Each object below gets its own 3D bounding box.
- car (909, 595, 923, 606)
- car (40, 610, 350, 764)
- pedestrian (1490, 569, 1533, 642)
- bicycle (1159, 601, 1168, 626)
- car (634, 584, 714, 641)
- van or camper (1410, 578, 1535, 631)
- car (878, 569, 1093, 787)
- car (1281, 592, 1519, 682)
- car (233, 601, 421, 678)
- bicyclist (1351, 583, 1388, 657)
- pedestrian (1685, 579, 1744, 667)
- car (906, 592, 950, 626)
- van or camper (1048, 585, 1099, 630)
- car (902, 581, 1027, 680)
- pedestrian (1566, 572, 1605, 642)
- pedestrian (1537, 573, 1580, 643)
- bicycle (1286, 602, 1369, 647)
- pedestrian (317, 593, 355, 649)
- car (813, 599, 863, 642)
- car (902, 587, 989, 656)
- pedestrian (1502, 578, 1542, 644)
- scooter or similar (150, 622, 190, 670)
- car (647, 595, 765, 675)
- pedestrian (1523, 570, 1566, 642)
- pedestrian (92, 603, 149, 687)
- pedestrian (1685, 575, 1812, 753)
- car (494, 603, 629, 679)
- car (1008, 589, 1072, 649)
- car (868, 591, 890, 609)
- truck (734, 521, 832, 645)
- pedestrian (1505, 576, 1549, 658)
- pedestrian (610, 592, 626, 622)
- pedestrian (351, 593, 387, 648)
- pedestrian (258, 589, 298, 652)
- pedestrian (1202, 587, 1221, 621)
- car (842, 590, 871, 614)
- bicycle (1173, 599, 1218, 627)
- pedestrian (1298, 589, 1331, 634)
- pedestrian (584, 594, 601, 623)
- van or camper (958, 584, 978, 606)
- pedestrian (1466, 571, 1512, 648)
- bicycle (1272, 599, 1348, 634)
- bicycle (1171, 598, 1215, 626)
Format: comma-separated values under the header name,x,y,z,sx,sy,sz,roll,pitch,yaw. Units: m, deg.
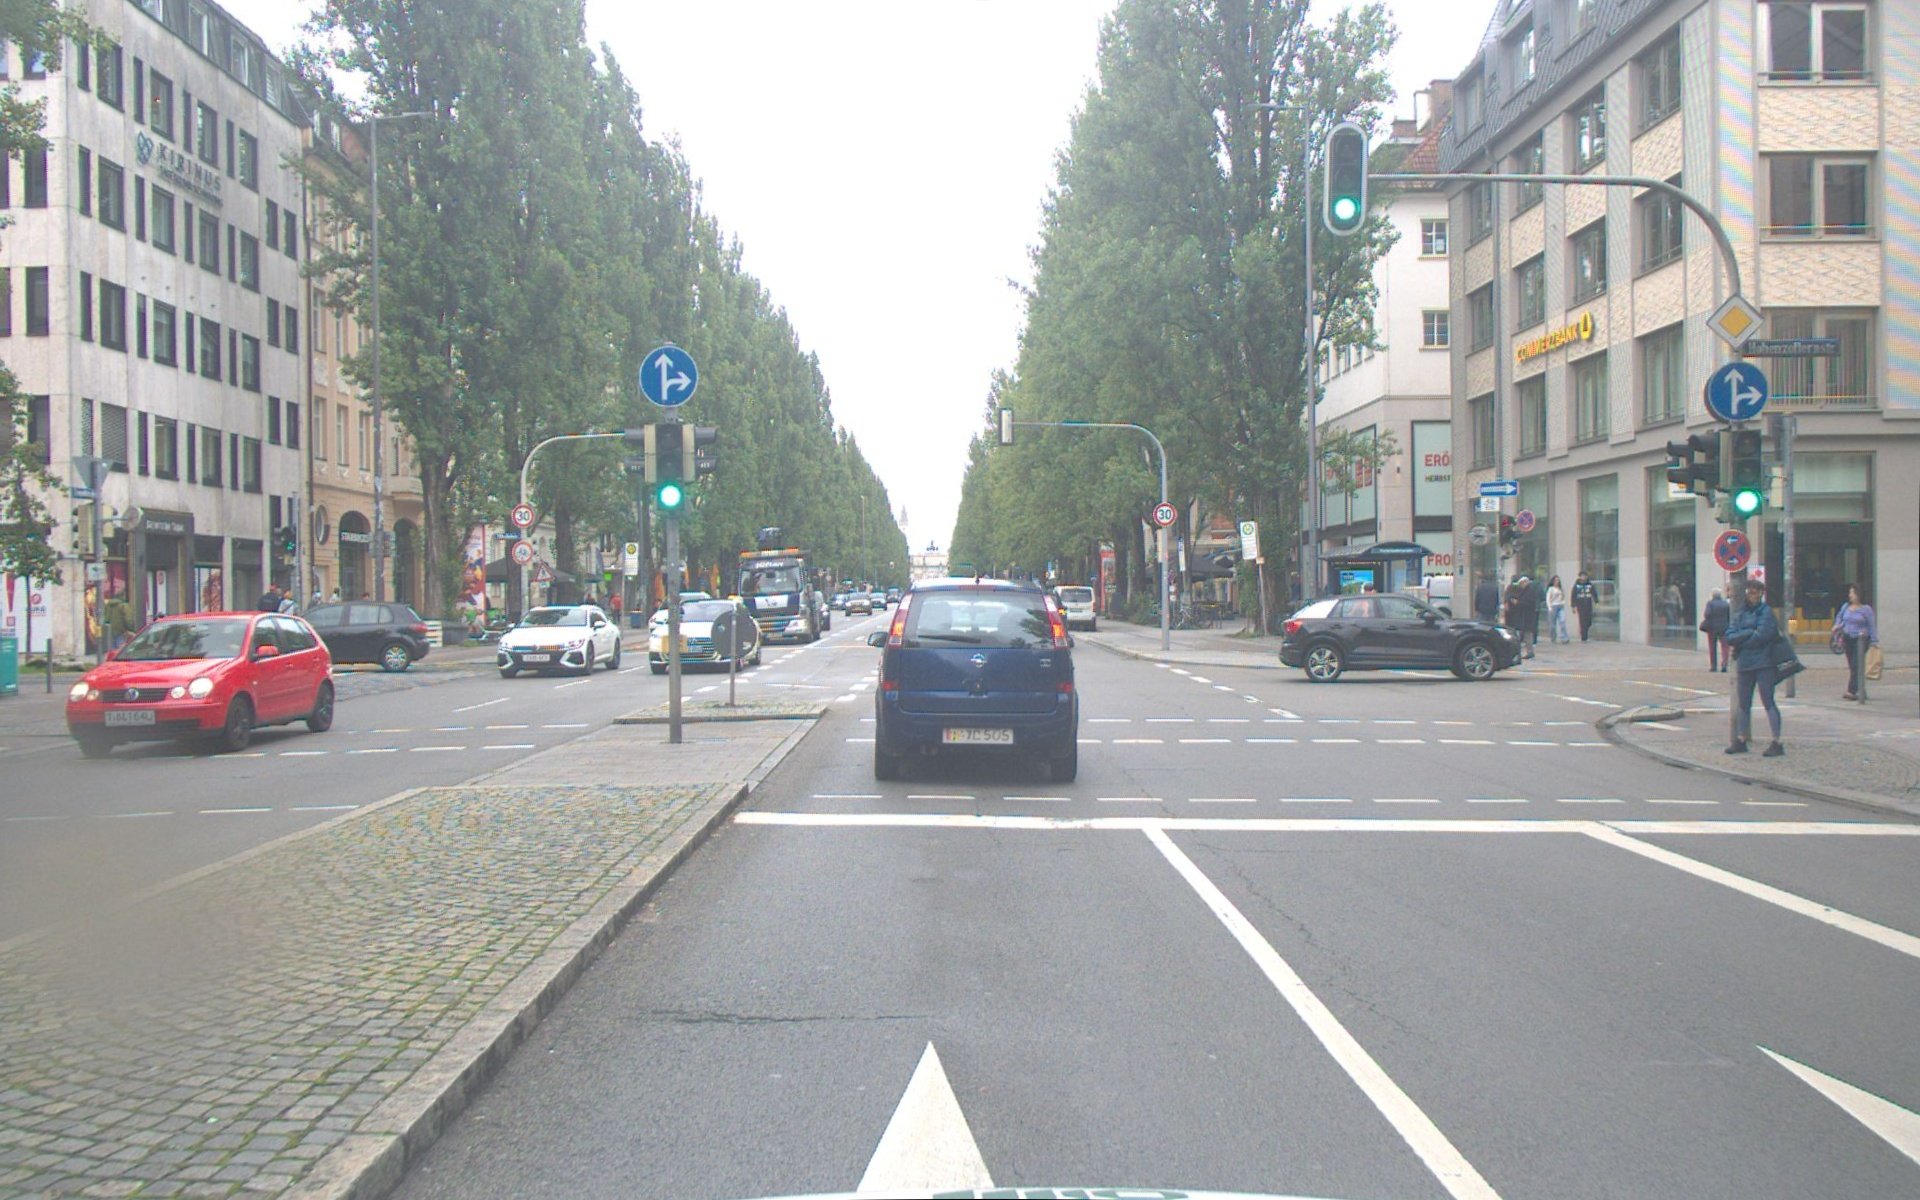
name,x,y,z,sx,sy,sz,roll,pitch,yaw
car,-6.185,0.036,232.327,1.922,1.424,3.778,-1,0,-2
car,-8.351,0.880,18.452,1.701,1.462,3.823,-1,0,-1
pedestrian,13.844,0.148,41.543,0.734,1.789,0.859,-1,-2,0
bicycle,8.797,0.584,71.582,0.357,1.056,1.732,-1,0,7
car,-9.261,0.383,53.962,1.800,1.746,4.635,-2,0,-1
van or camper,18.732,0.165,60.591,4.018,1.899,1.899,1,0,3
car,0.134,0.589,14.705,1.647,1.670,3.999,0,0,-2
car,7.638,0.633,29.011,3.901,1.487,1.761,-1,0,11
car,-13.393,0.813,35.178,3.637,1.501,1.762,-1,0,-20
bicyclist,9.093,0.440,36.756,0.609,1.616,0.753,-1,0,-2
pedestrian,14.619,0.456,32.047,0.734,1.665,0.734,-2,-2,1
car,-1.502,0.391,75.749,1.953,1.524,3.999,-1,0,-2
van or camper,4.997,0.310,73.362,1.830,1.916,4.902,0,0,-1
car,0.008,0.469,28.098,1.953,1.523,3.999,-1,0,-2
pedestrian,16.207,0.184,42.866,0.734,1.788,0.711,0,0,0
pedestrian,15.437,0.206,42.661,0.734,1.788,1.017,-1,0,0
bicycle,10.762,0.702,48.471,2.296,1.274,0.633,-1,0,-2
pedestrian,-18.159,0.603,48.130,0.735,1.594,0.989,-1,0,-2
car,-5.299,0.848,72.082,1.846,1.777,4.439,-1,0,0
car,-0.393,0.476,39.572,1.953,1.523,3.999,-1,0,-2
pedestrian,15.035,0.287,44.272,0.734,1.748,0.963,-1,0,0
scooter or similar,-18.600,1.088,38.942,0.798,1.112,0.274,1,-1,-5
car,-5.326,0.686,35.276,1.806,1.528,4.985,-2,0,-1
pedestrian,14.659,0.157,41.517,0.734,1.789,0.859,-1,-2,0
pedestrian,-17.812,0.944,35.106,0.712,1.771,0.942,1,0,-1
pedestrian,7.510,0.593,15.780,0.750,1.638,0.863,-1,0,-5
car,-8.371,0.813,35.129,1.786,1.432,4.631,-2,0,-1
car,2.278,0.521,47.907,1.671,1.601,4.001,-1,1,1
car,-7.666,-0.036,157.070,1.896,1.652,4.335,-1,0,-1
truck,-5.700,-0.536,54.404,2.413,3.734,8.438,-1,0,-1
pedestrian,12.539,0.377,36.571,0.694,1.788,0.752,-1,0,0
pedestrian,-19.385,0.380,93.701,0.719,1.702,0.952,-1,0,-1
pedestrian,-18.023,0.607,50.477,0.762,1.647,0.934,-1,0,-2
pedestrian,-19.997,0.593,48.513,0.783,1.818,0.911,1,0,-1
pedestrian,13.908,0.227,91.496,0.809,1.873,1.099,-1,0,0
car,-7.547,0.108,120.713,1.874,1.710,4.585,-1,0,-1
bicycle,9.375,0.518,65.861,1.726,1.062,0.483,-1,0,-11
pedestrian,13.591,0.423,63.476,0.978,1.703,0.813,-1,0,-41
pedestrian,-20.329,0.470,91.530,0.753,1.564,0.804,-1,0,-2
van or camper,1.036,-0.629,209.649,2.426,2.626,5.843,-1,0,-1
pedestrian,12.809,0.226,40.049,0.801,1.849,0.890,0,0,-3
bicycle,10.662,0.505,50.442,2.104,1.035,0.874,-1,0,-2
bicycle,9.374,0.481,66.602,1.707,1.130,0.447,-1,0,-11
